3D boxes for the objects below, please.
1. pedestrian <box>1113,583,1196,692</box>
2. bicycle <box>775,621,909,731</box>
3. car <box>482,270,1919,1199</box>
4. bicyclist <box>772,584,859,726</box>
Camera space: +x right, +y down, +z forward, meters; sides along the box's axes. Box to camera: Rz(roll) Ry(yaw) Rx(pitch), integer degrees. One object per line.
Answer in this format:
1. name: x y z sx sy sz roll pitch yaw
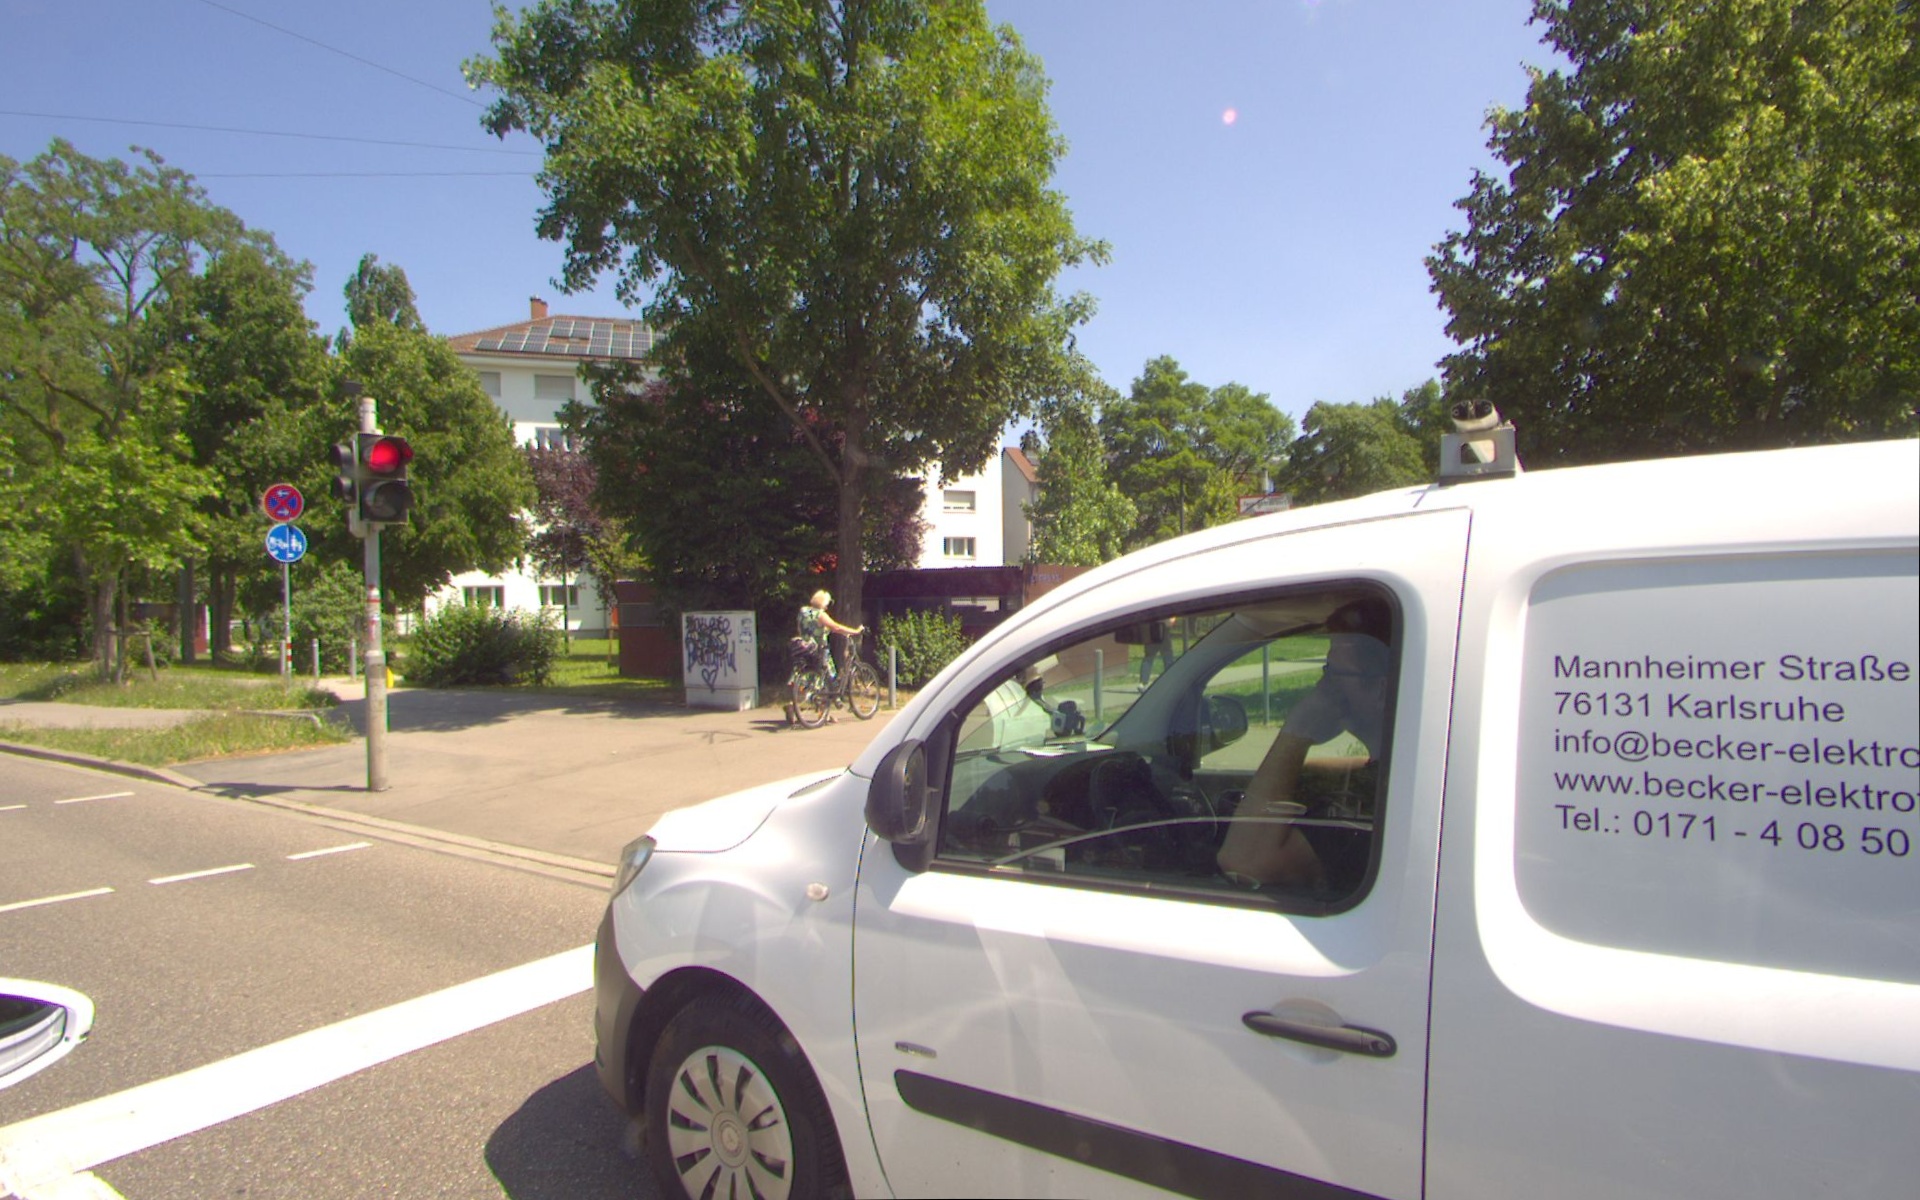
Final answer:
1. pedestrian: 3.374 0.625 17.366 1.176 1.801 0.832 -3 1 -43
2. bicycle: -1.405 0.888 12.330 0.533 1.177 1.953 0 1 32
3. car: 1.120 0.567 2.301 4.384 1.850 1.990 -1 0 32
4. bicyclist: -1.779 0.646 12.434 0.572 1.689 0.955 0 2 32
